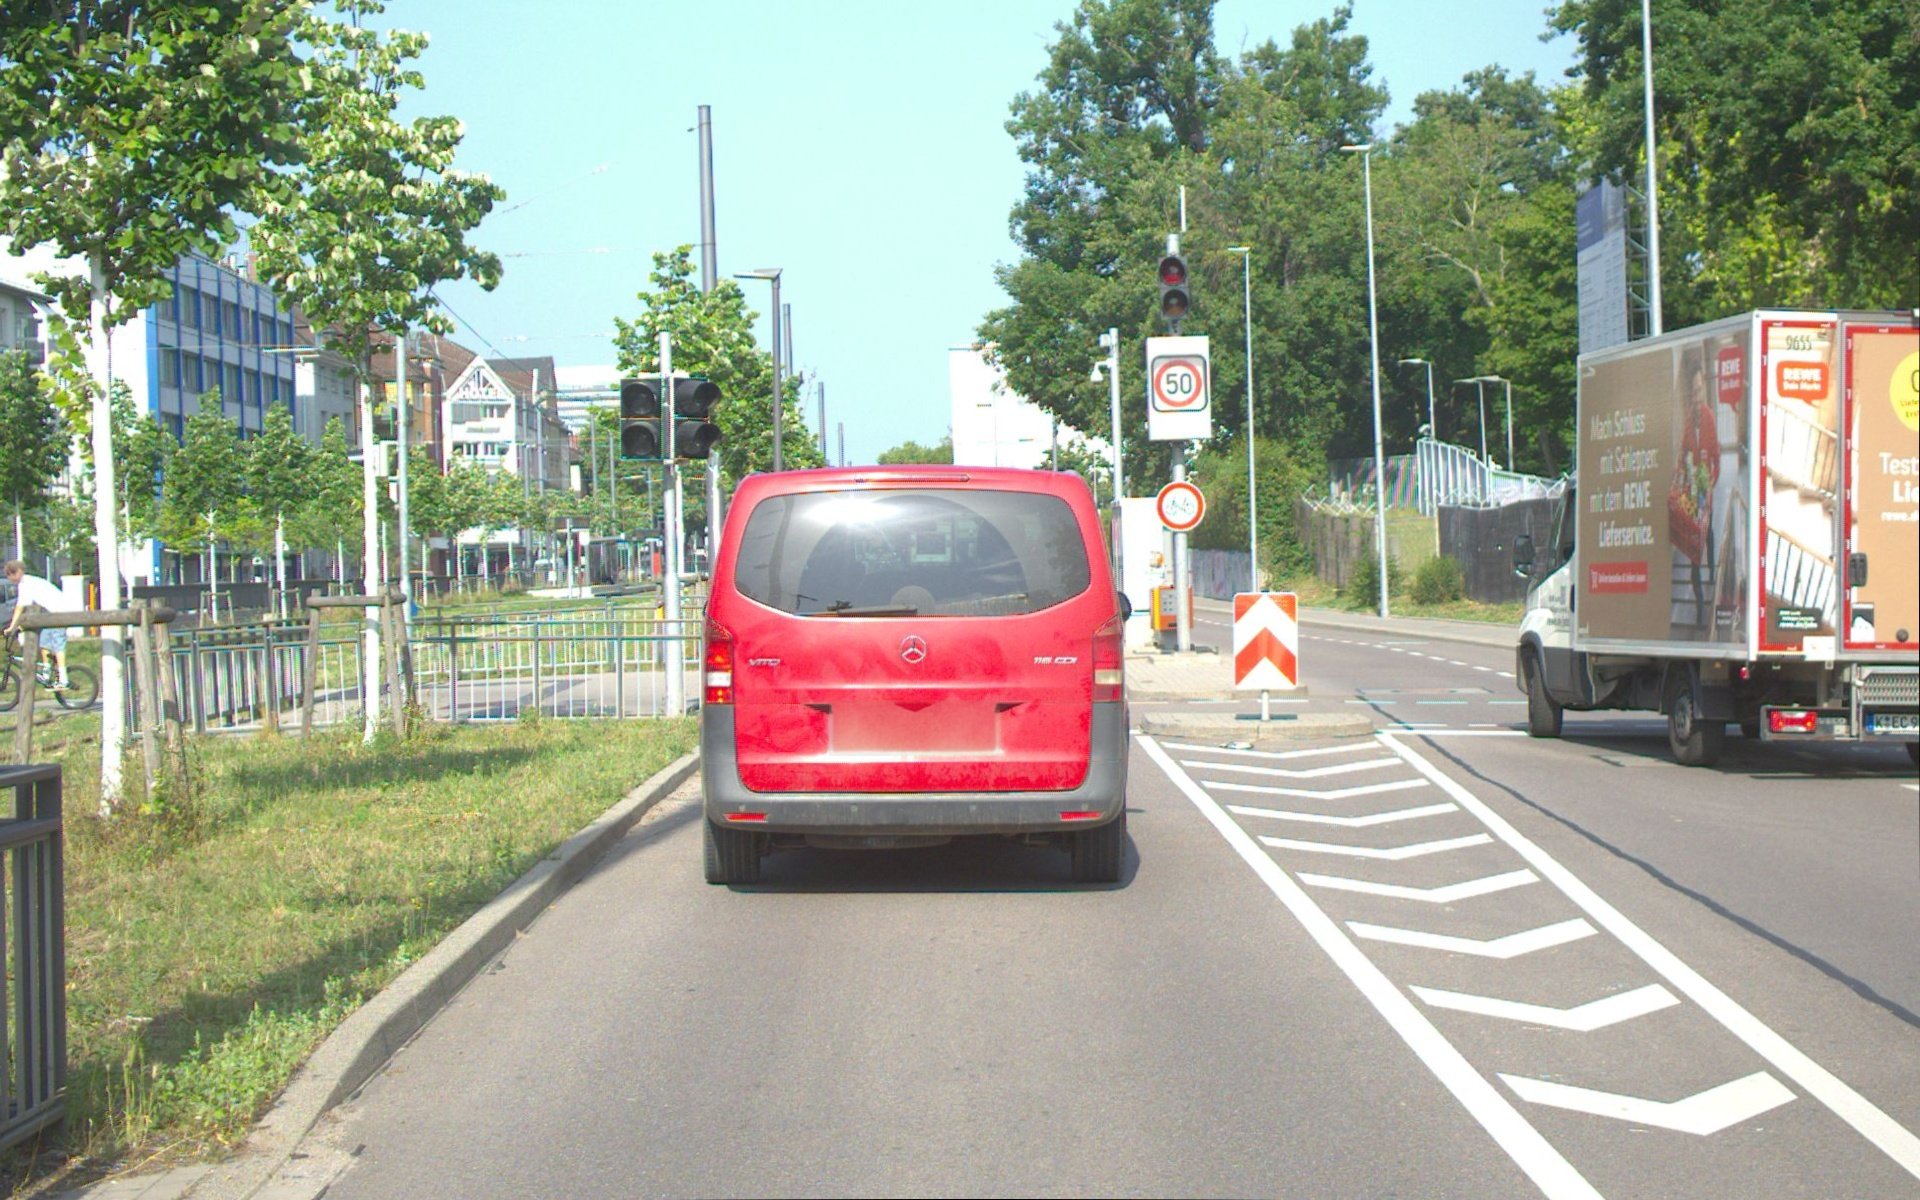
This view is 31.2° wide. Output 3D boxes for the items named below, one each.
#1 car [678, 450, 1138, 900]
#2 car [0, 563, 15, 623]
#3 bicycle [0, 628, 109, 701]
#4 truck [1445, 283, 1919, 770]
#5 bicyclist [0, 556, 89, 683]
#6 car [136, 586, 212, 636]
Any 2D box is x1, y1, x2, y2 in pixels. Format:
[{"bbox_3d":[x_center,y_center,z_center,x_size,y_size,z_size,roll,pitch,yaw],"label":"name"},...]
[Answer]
[{"bbox_3d":[-0.140,0.282,16.283,1.901,1.853,4.000,0,1,2],"label":"car"},{"bbox_3d":[-33.253,-0.266,114.591,2.249,2.007,5.263,1,-1,-2],"label":"car"},{"bbox_3d":[-10.607,0.731,39.520,0.719,0.795,1.601,1,0,28],"label":"bicycle"},{"bbox_3d":[5.813,-0.480,25.590,2.501,3.050,7.822,1,0,-6],"label":"truck"},{"bbox_3d":[-10.570,0.222,39.569,0.686,1.435,0.804,1,0,28],"label":"bicyclist"},{"bbox_3d":[-29.386,0.406,128.642,1.917,1.806,4.000,1,0,0],"label":"car"}]
